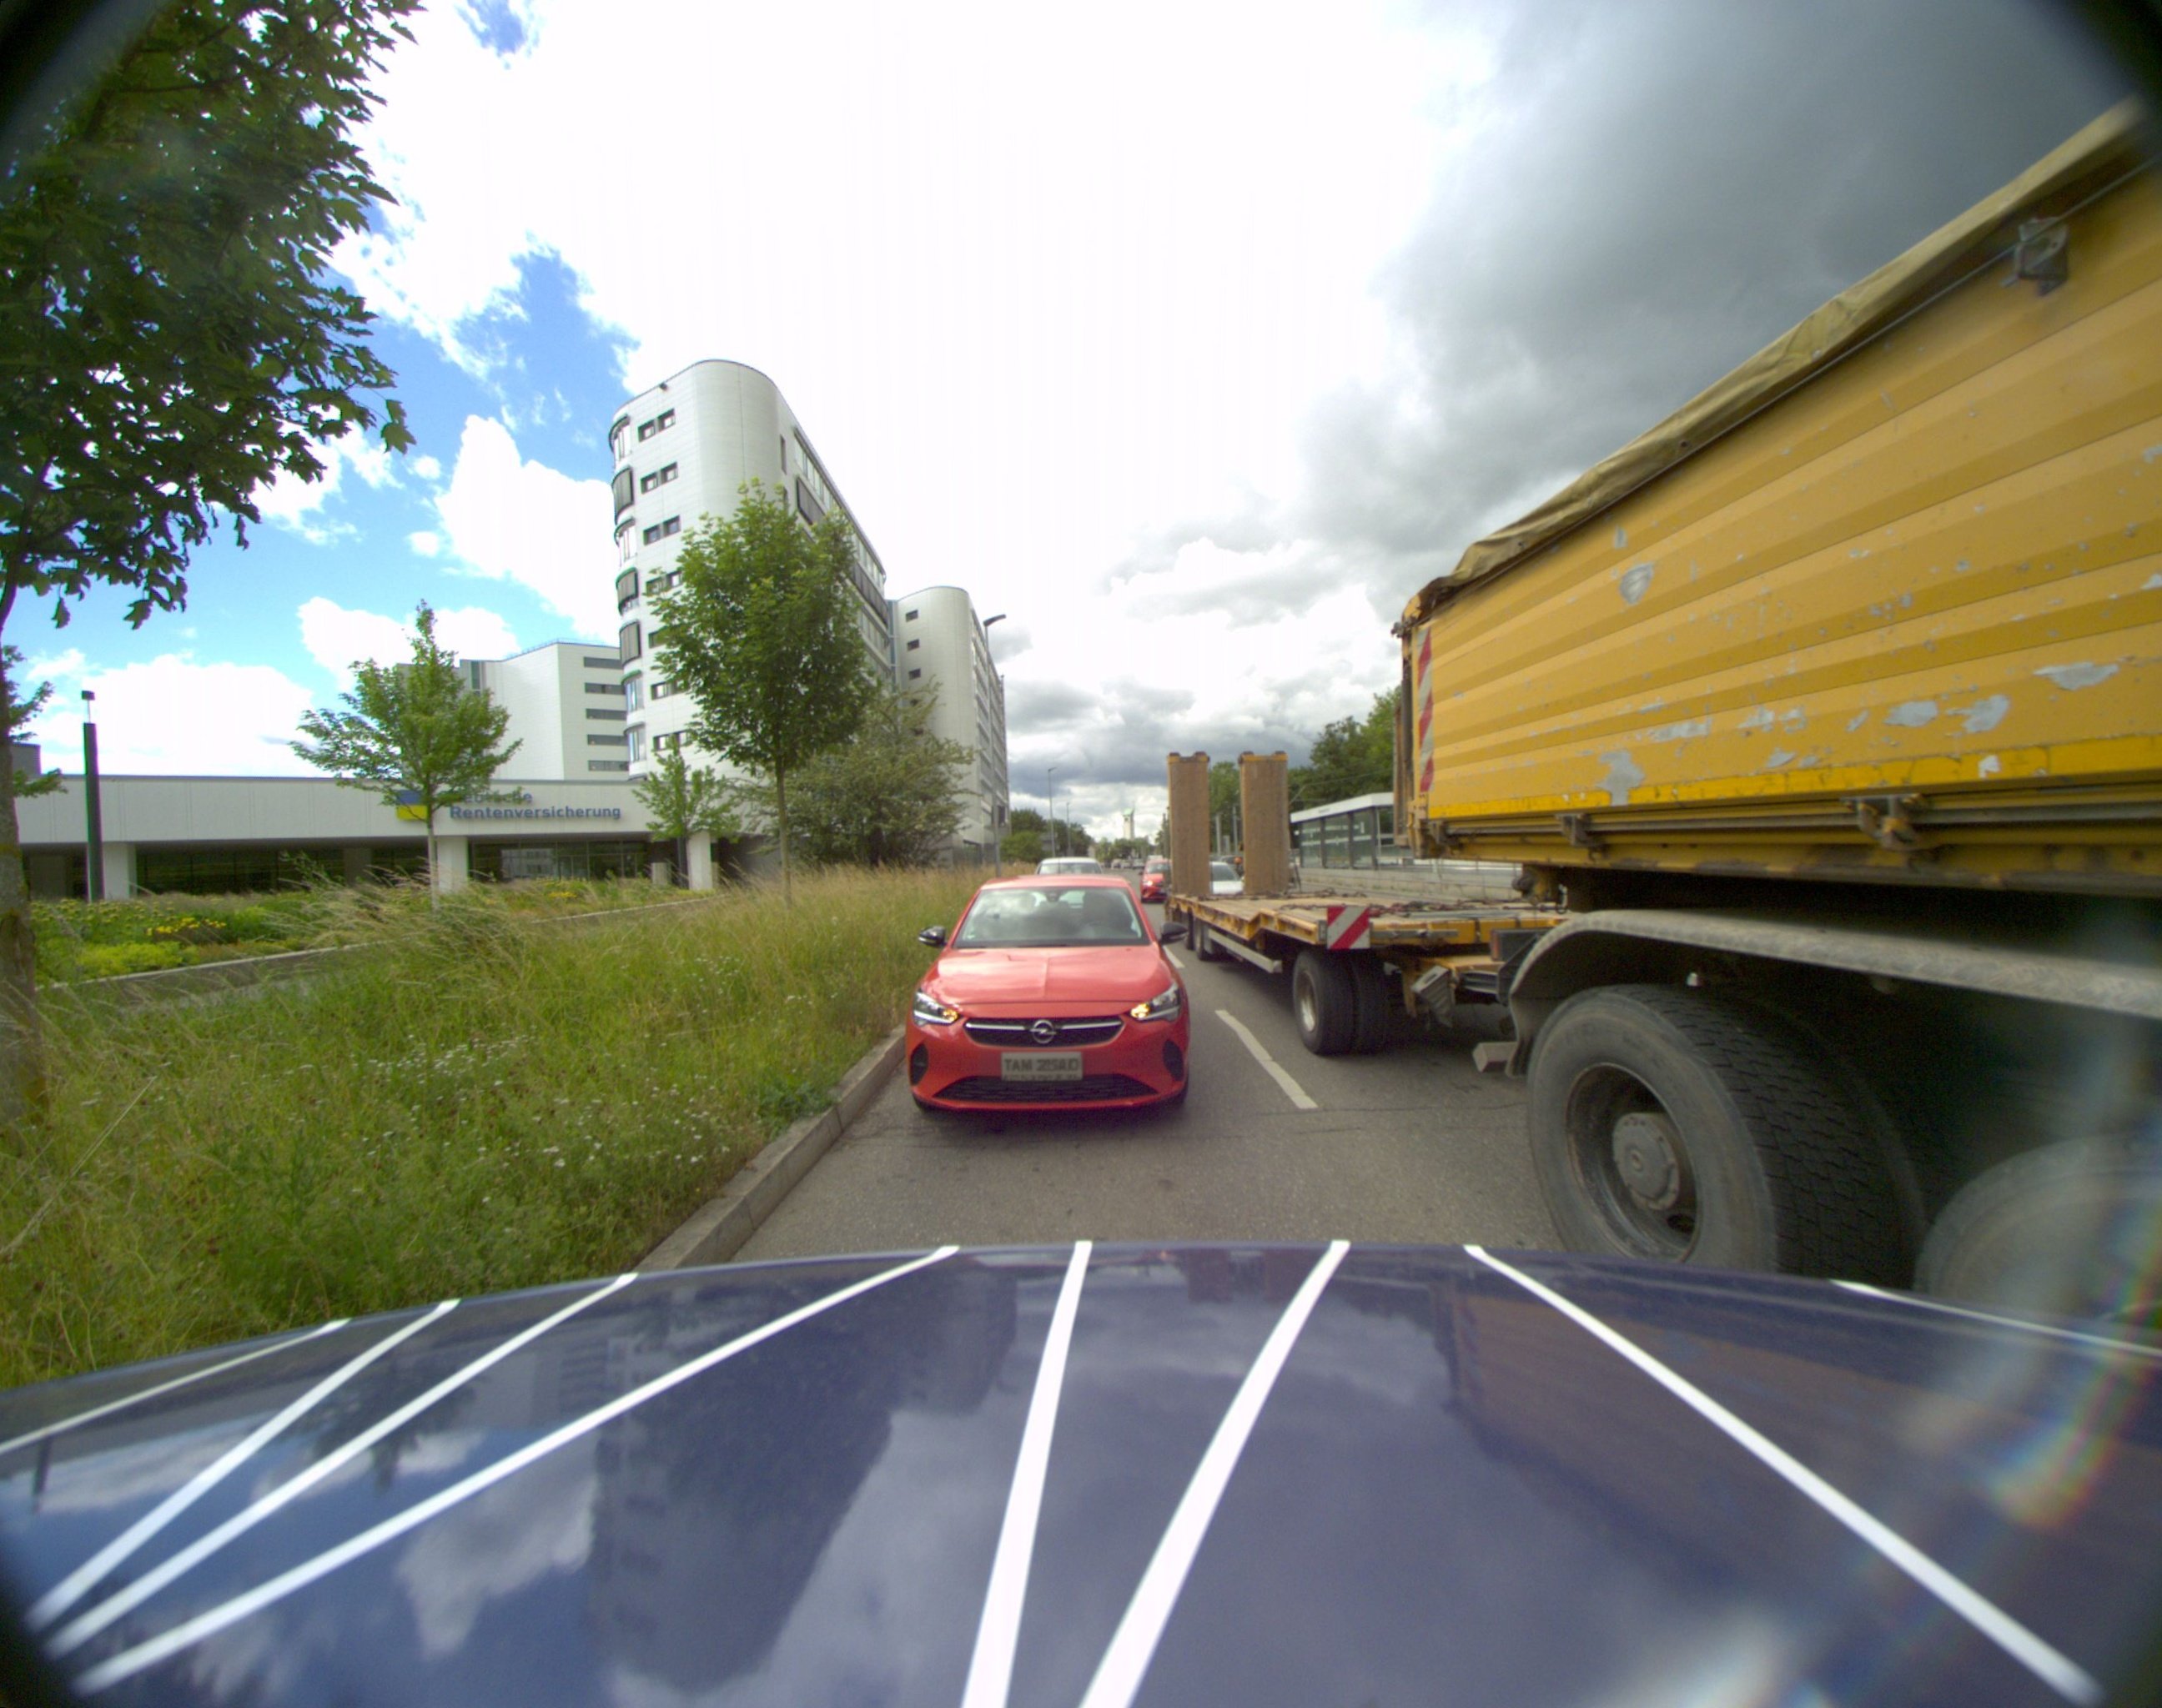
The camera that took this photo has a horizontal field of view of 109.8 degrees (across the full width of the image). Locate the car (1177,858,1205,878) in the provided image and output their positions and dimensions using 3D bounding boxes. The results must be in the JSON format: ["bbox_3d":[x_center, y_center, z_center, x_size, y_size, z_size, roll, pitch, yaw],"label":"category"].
[{"bbox_3d":[8.451,1.024,58.856,1.766,1.432,4.279,-2,0,4],"label":"car"}]

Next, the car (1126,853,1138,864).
[{"bbox_3d":[9.197,0.793,136.881,1.998,2.002,4.000,-2,0,1],"label":"car"}]

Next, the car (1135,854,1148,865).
[{"bbox_3d":[8.961,0.806,112.324,1.644,1.489,3.554,-2,0,1],"label":"car"}]

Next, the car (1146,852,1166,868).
[{"bbox_3d":[8.776,0.723,89.197,1.887,1.761,4.864,-2,0,1],"label":"car"}]

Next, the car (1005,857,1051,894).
[{"bbox_3d":[-2.442,0.971,36.345,1.850,1.565,4.623,-2,0,0],"label":"car"}]

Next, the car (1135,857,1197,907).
[{"bbox_3d":[2.836,0.891,26.138,1.692,1.471,3.999,-2,1,1],"label":"car"}]

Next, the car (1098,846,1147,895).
[{"bbox_3d":[1.808,0.700,34.375,1.998,2.002,4.000,-2,0,1],"label":"car"}]

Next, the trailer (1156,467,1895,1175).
[{"bbox_3d":[2.804,-0.156,9.326,2.713,3.501,10.914,-2,0,1],"label":"trailer"}]

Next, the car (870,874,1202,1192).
[{"bbox_3d":[-0.209,0.997,5.991,1.692,1.471,3.999,-2,1,1],"label":"car"}]

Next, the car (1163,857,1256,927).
[{"bbox_3d":[3.138,0.881,19.290,1.692,1.471,3.999,-2,1,1],"label":"car"}]

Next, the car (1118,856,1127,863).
[{"bbox_3d":[9.094,1.127,167.172,1.770,1.489,3.554,-2,0,1],"label":"car"}]

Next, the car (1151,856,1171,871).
[{"bbox_3d":[8.212,0.997,78.323,1.705,1.449,3.566,-2,0,1],"label":"car"}]

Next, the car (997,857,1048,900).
[{"bbox_3d":[-2.299,0.952,30.652,1.738,1.565,3.445,-2,0,0],"label":"car"}]

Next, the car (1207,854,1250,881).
[{"bbox_3d":[8.611,0.741,44.741,1.781,1.460,4.044,-2,0,1],"label":"car"}]

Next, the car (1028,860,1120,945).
[{"bbox_3d":[-0.138,0.945,16.397,1.738,1.565,3.445,-2,0,0],"label":"car"}]
